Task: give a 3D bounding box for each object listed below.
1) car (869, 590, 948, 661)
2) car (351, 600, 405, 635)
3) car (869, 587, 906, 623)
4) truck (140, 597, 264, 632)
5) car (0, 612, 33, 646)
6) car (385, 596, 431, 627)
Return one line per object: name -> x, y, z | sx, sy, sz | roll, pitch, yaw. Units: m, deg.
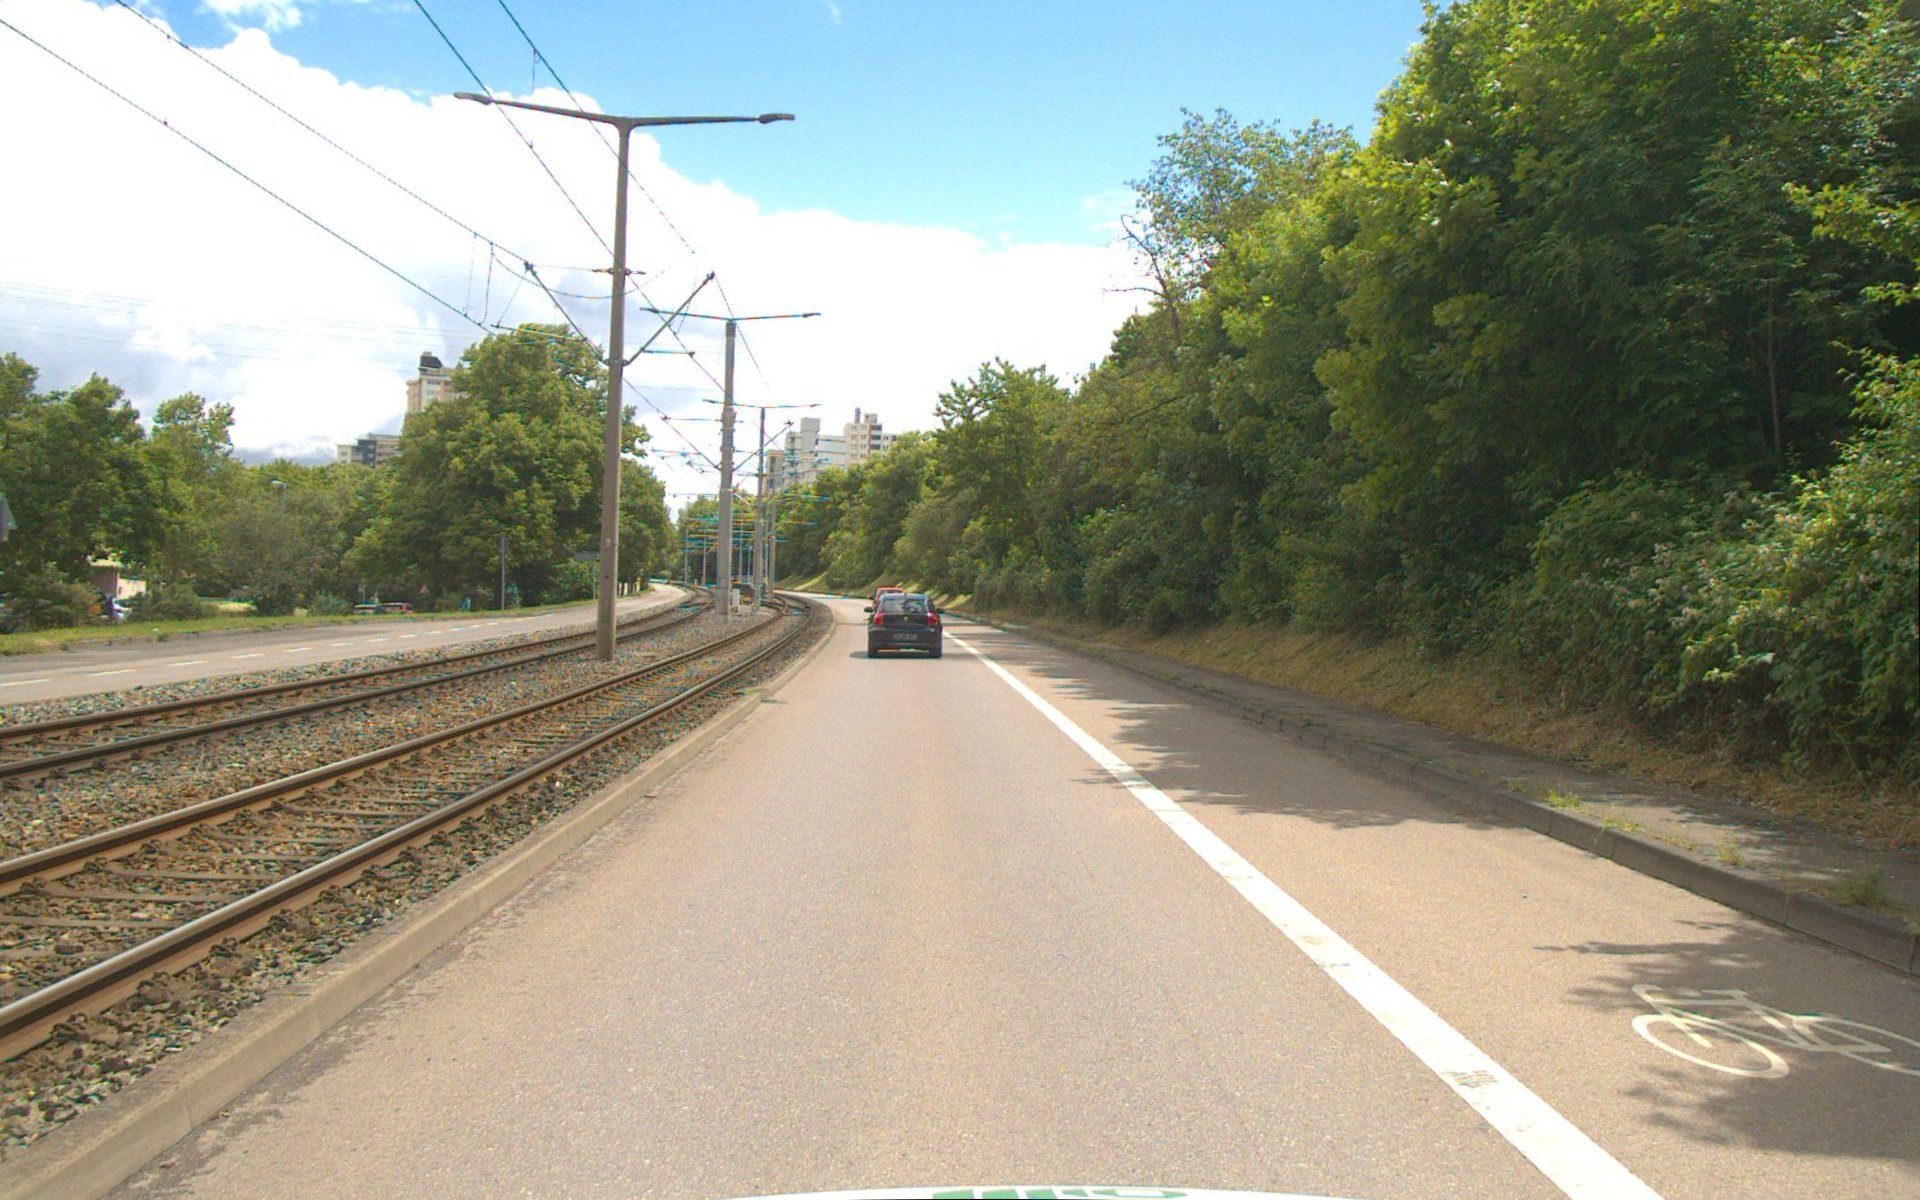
car -> -1.168, 0.580, 38.525 | 1.674, 1.486, 3.959 | 3, -1, -1
car -> -31.900, 0.930, 90.747 | 1.780, 1.803, 3.998 | 0, 1, -3
car -> -3.253, 0.256, 74.909 | 1.592, 1.469, 3.419 | 3, -2, -2
truck -> -62.505, 1.172, 136.483 | 9.006, 2.742, 2.586 | -1, 0, -33
car -> -40.214, 1.115, 67.126 | 3.998, 1.274, 1.997 | 3, 1, 1
car -> -32.706, 0.664, 98.027 | 1.781, 1.803, 3.995 | 0, 1, -7
